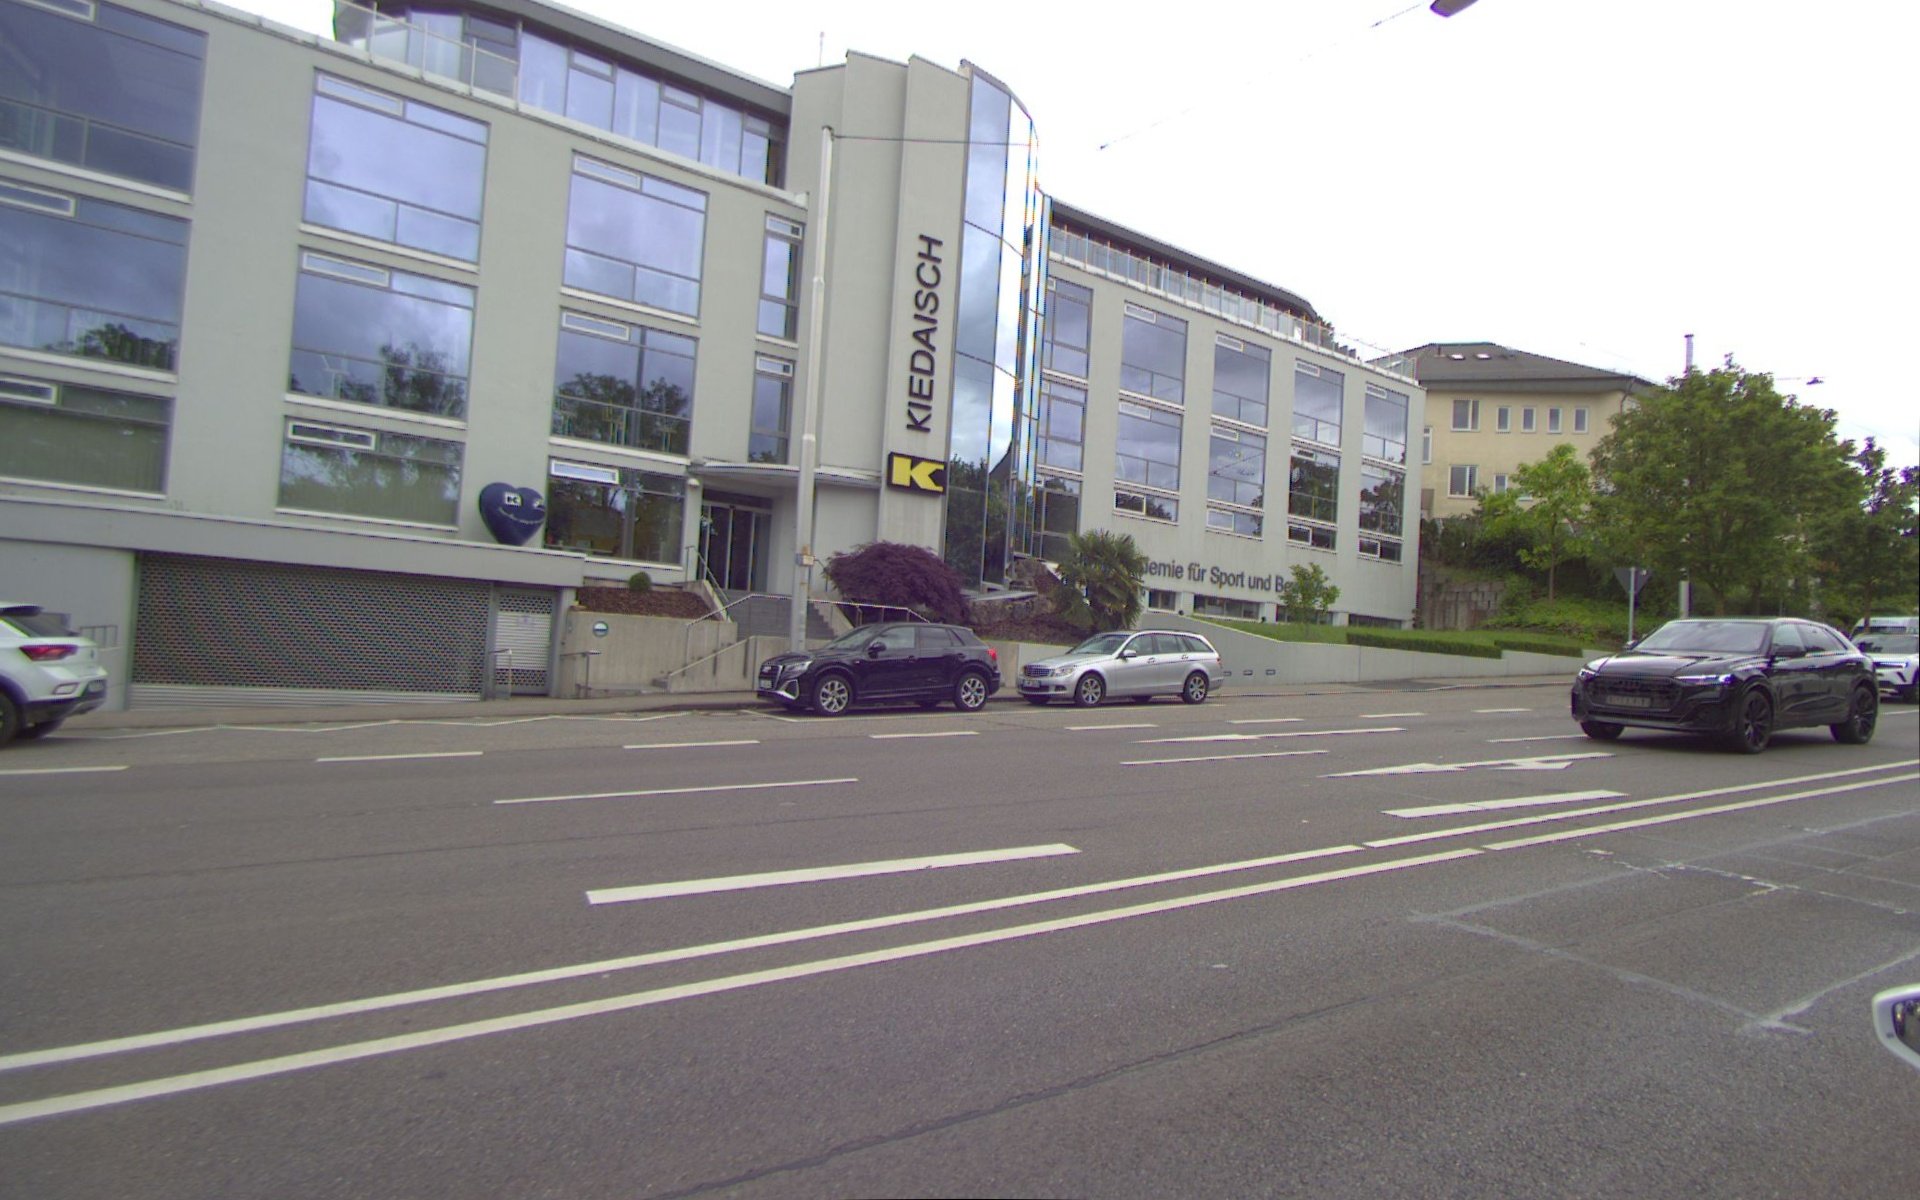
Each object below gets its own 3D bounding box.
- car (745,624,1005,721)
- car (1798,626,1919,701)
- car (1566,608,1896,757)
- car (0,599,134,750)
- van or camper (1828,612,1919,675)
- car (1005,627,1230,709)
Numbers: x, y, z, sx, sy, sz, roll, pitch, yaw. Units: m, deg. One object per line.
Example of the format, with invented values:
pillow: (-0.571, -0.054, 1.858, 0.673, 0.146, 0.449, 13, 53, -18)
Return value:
car: (-1.378, 1.158, 16.849, 4.042, 1.447, 1.665, 2, -2, -31)
car: (21.024, 1.399, 22.898, 3.877, 1.562, 1.791, 2, -1, -31)
car: (10.517, 1.039, 13.628, 4.705, 1.725, 1.840, 2, -2, -29)
car: (-11.266, 0.732, 10.170, 4.186, 1.523, 1.661, 2, -2, -29)
van or camper: (38.875, 1.833, 42.085, 5.641, 2.505, 1.985, 2, -2, -29)
car: (3.150, 1.281, 19.734, 4.369, 1.447, 1.664, 2, -2, -32)
